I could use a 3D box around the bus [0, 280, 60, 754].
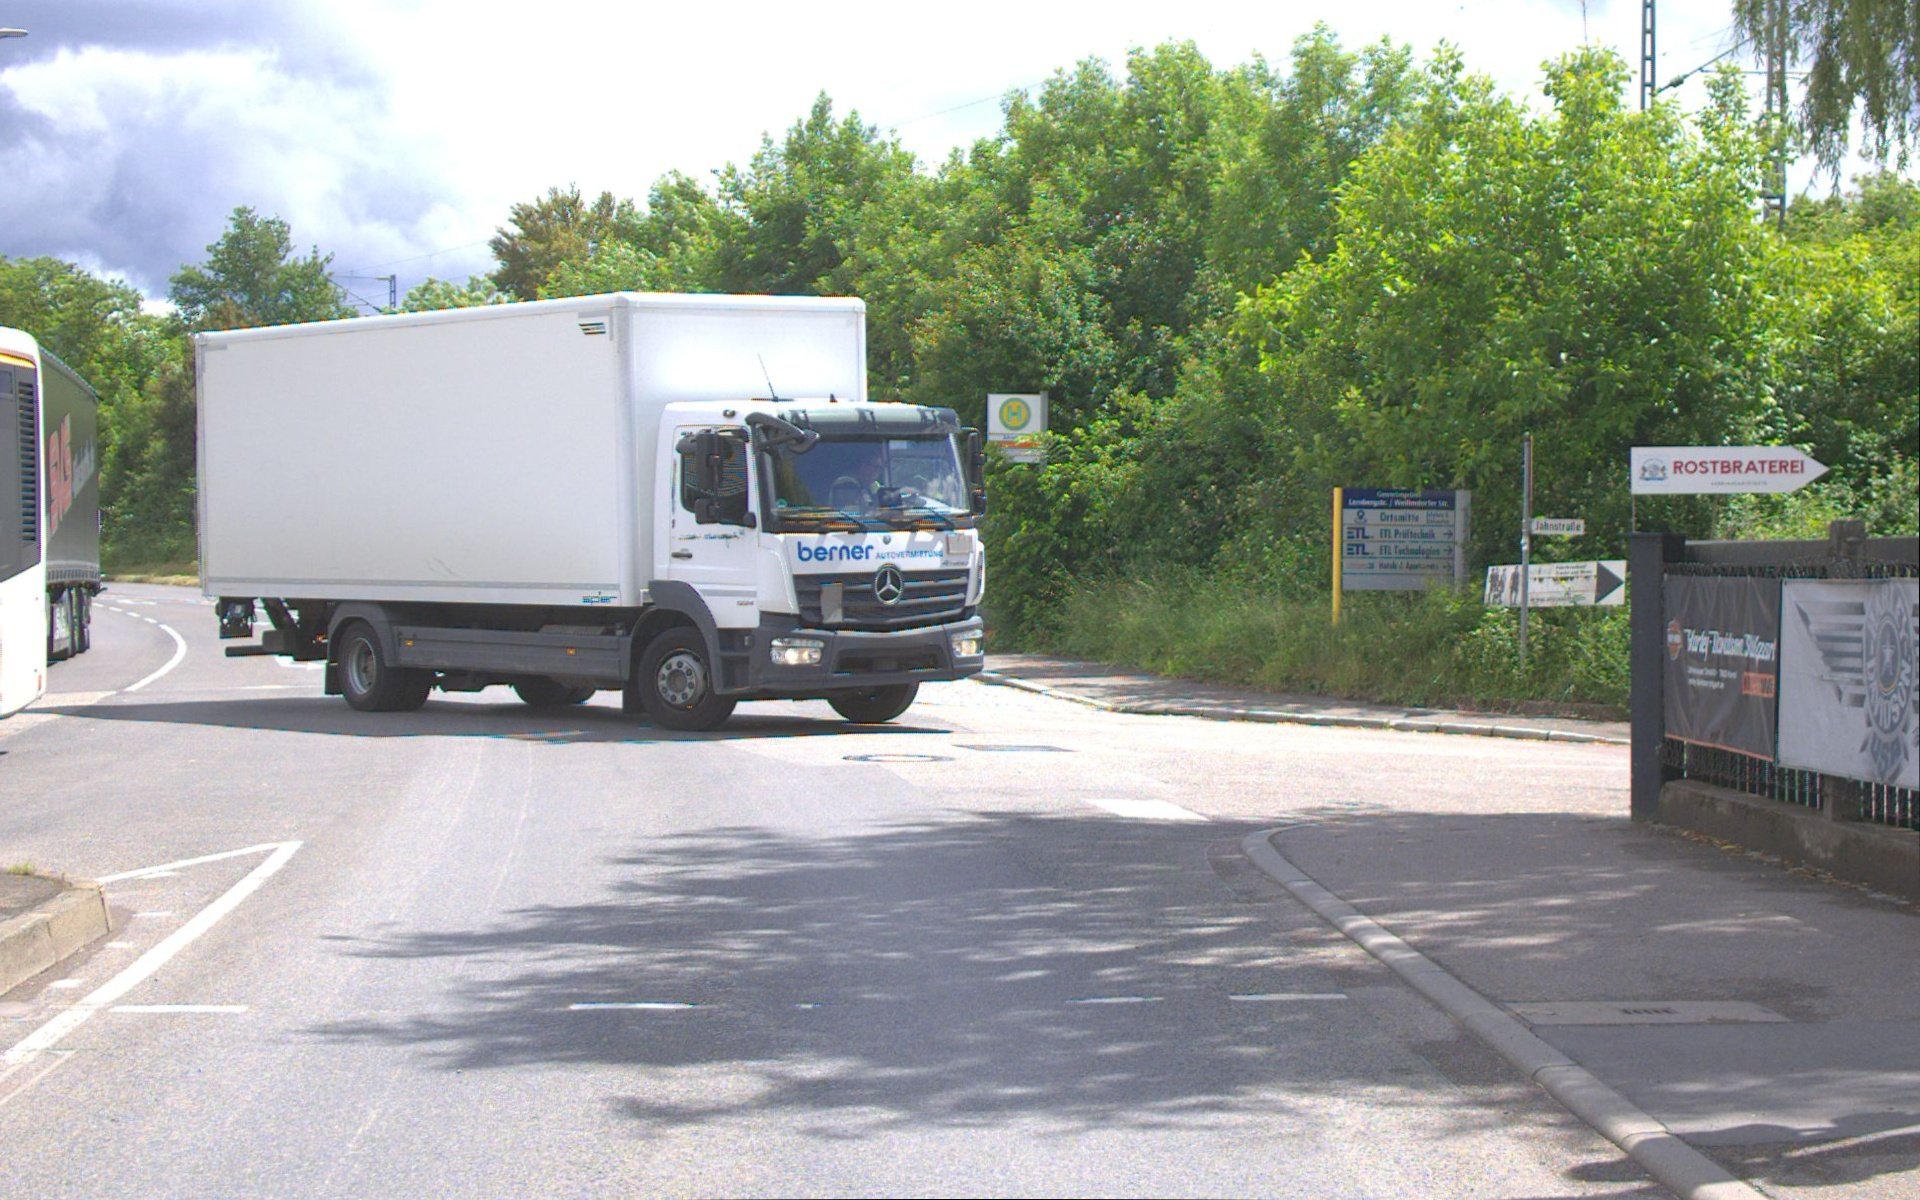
[{"bbox_3d":[-7.900,-0.510,19.146,2.777,3.255,12.124,-1,1,-1],"label":"bus"}]

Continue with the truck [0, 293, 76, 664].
[{"bbox_3d":[-12.183,-1.400,40.167,2.428,4.117,9.152,2,0,-8],"label":"truck"}]

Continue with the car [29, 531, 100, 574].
[{"bbox_3d":[-32.621,-1.750,125.166,1.884,1.503,4.001,0,1,-24],"label":"car"}]

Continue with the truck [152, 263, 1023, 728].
[{"bbox_3d":[-3.691,-0.888,30.769,2.841,3.528,9.721,-1,1,-40],"label":"truck"}]
